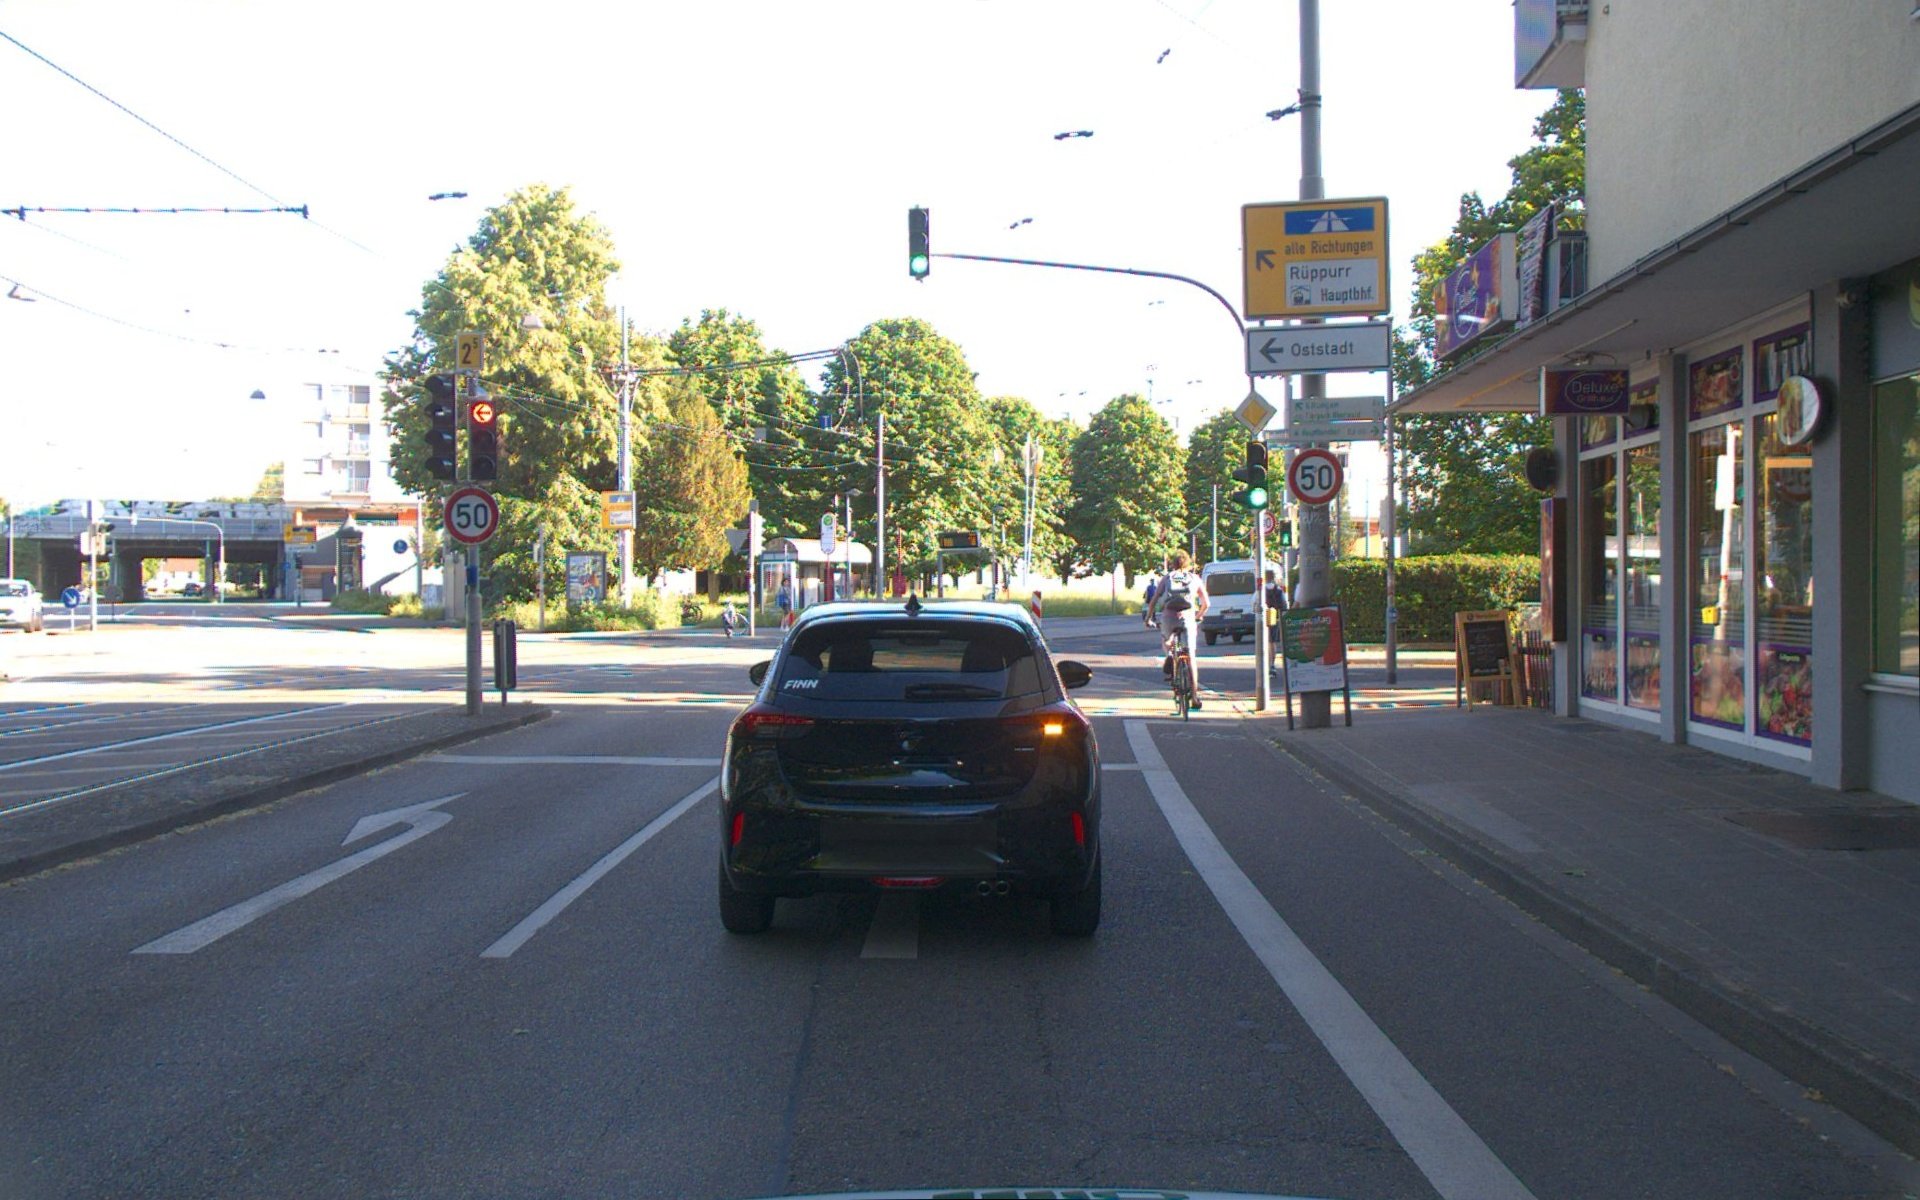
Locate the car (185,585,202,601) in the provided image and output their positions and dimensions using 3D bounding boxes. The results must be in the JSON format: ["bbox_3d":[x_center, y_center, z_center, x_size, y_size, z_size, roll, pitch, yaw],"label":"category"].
[{"bbox_3d":[-101.727,-0.928,219.520,1.970,2.049,3.965,1,-1,-27],"label":"car"}]

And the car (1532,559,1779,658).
[{"bbox_3d":[13.531,0.196,32.382,4.087,1.846,1.807,0,-3,8],"label":"car"}]

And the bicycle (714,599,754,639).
[{"bbox_3d":[-6.305,0.524,46.260,0.808,1.078,1.883,0,0,2],"label":"bicycle"}]

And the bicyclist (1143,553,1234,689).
[{"bbox_3d":[2.672,0.228,19.448,0.823,1.536,1.368,0,0,-3],"label":"bicyclist"}]

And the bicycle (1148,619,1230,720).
[{"bbox_3d":[2.670,0.788,19.478,0.653,1.078,2.082,0,0,-1],"label":"bicycle"}]

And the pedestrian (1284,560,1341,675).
[{"bbox_3d":[5.868,0.289,27.530,0.691,1.878,0.697,0,0,39],"label":"pedestrian"}]

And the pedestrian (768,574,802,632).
[{"bbox_3d":[-5.232,0.075,49.459,0.695,1.722,0.716,-1,0,-44],"label":"pedestrian"}]

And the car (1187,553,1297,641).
[{"bbox_3d":[7.878,-0.070,45.946,2.047,2.317,4.304,1,-1,23],"label":"car"}]

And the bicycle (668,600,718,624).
[{"bbox_3d":[-10.534,0.483,65.254,1.837,0.922,0.660,0,0,6],"label":"bicycle"}]

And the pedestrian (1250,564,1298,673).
[{"bbox_3d":[5.326,0.312,28.100,0.684,1.823,0.617,0,0,-1],"label":"pedestrian"}]

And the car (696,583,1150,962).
[{"bbox_3d":[-0.123,0.657,8.432,1.763,1.466,3.940,0,0,1],"label":"car"}]

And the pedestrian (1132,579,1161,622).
[{"bbox_3d":[7.946,0.034,70.500,0.939,1.824,0.995,0,0,25],"label":"pedestrian"}]

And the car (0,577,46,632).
[{"bbox_3d":[-30.445,0.129,52.509,1.978,1.660,4.571,-1,1,-36],"label":"car"}]

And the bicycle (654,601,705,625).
[{"bbox_3d":[-10.746,0.500,63.395,1.837,0.922,0.660,0,0,6],"label":"bicycle"}]

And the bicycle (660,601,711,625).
[{"bbox_3d":[-10.667,0.511,64.381,1.837,0.922,0.660,0,0,6],"label":"bicycle"}]
